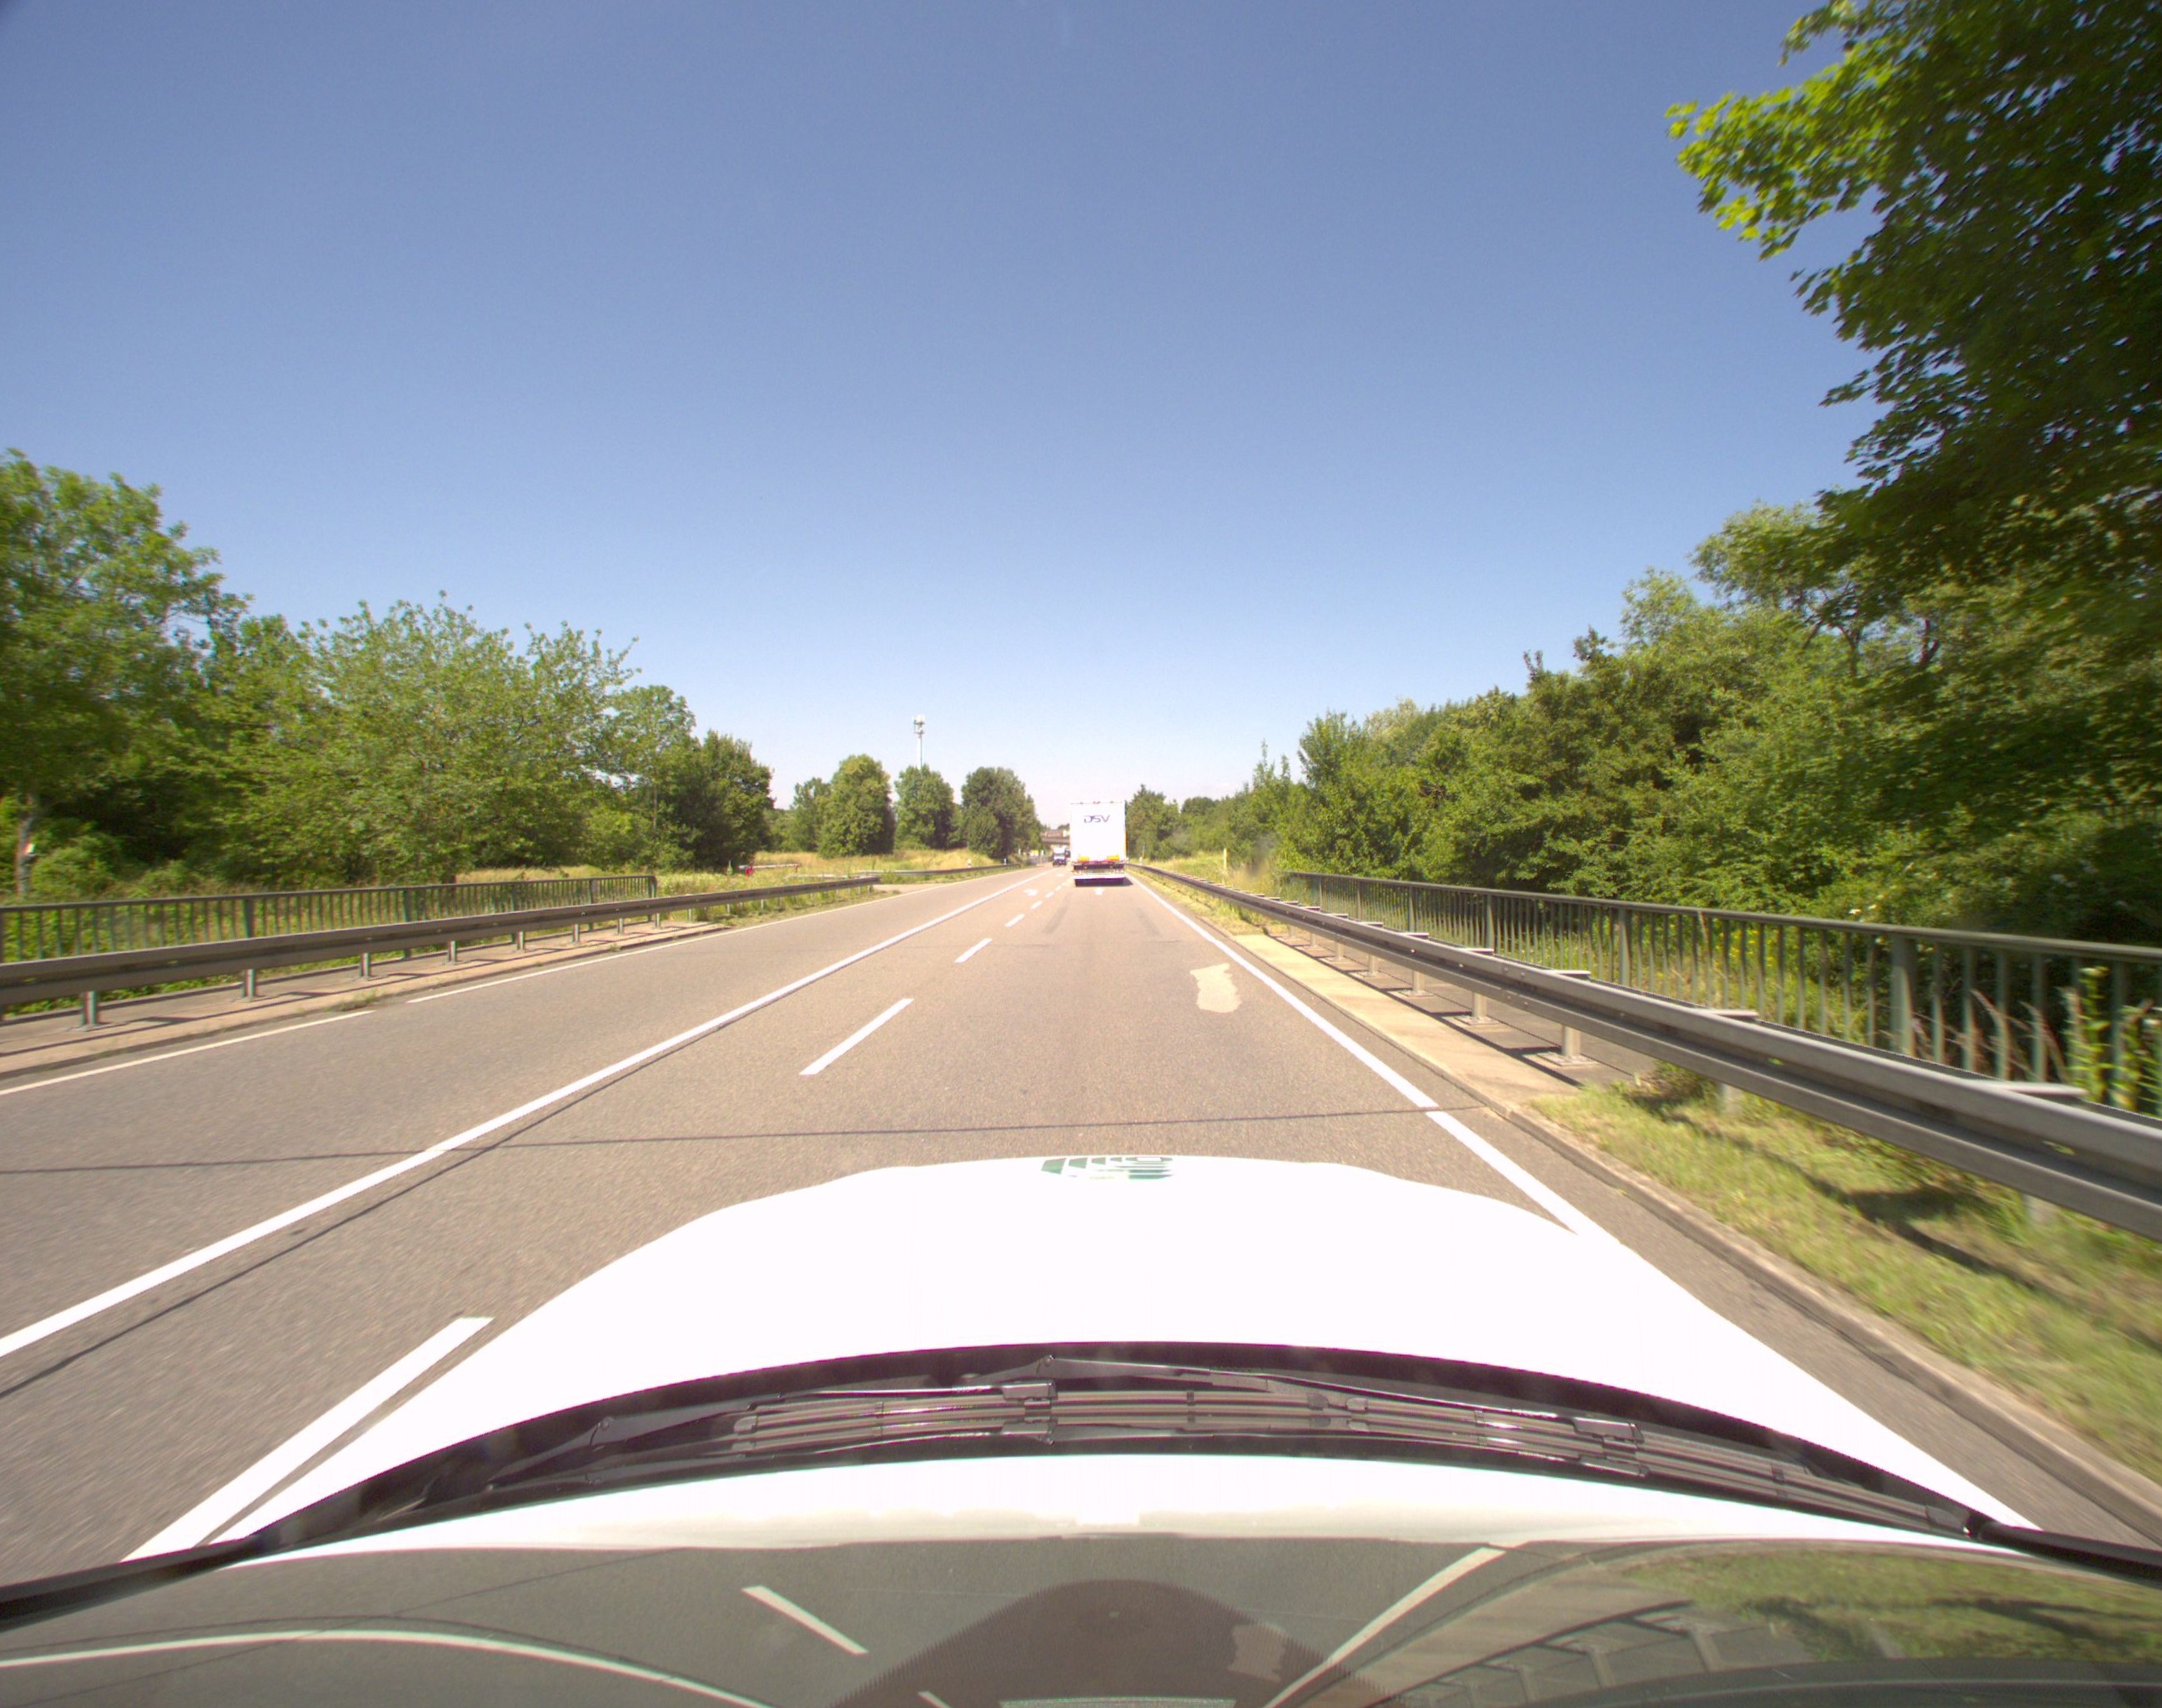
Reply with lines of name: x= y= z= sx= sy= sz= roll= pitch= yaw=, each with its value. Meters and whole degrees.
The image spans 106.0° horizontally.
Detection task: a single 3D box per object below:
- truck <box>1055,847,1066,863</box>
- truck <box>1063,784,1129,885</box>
truck: x=-5.020 y=0.269 z=200.489 sx=2.345 sy=3.750 sz=12.624 roll=-1 pitch=0 yaw=0
truck: x=0.818 y=-0.862 z=42.368 sx=2.939 sy=4.568 sz=9.865 roll=-1 pitch=-1 yaw=2
